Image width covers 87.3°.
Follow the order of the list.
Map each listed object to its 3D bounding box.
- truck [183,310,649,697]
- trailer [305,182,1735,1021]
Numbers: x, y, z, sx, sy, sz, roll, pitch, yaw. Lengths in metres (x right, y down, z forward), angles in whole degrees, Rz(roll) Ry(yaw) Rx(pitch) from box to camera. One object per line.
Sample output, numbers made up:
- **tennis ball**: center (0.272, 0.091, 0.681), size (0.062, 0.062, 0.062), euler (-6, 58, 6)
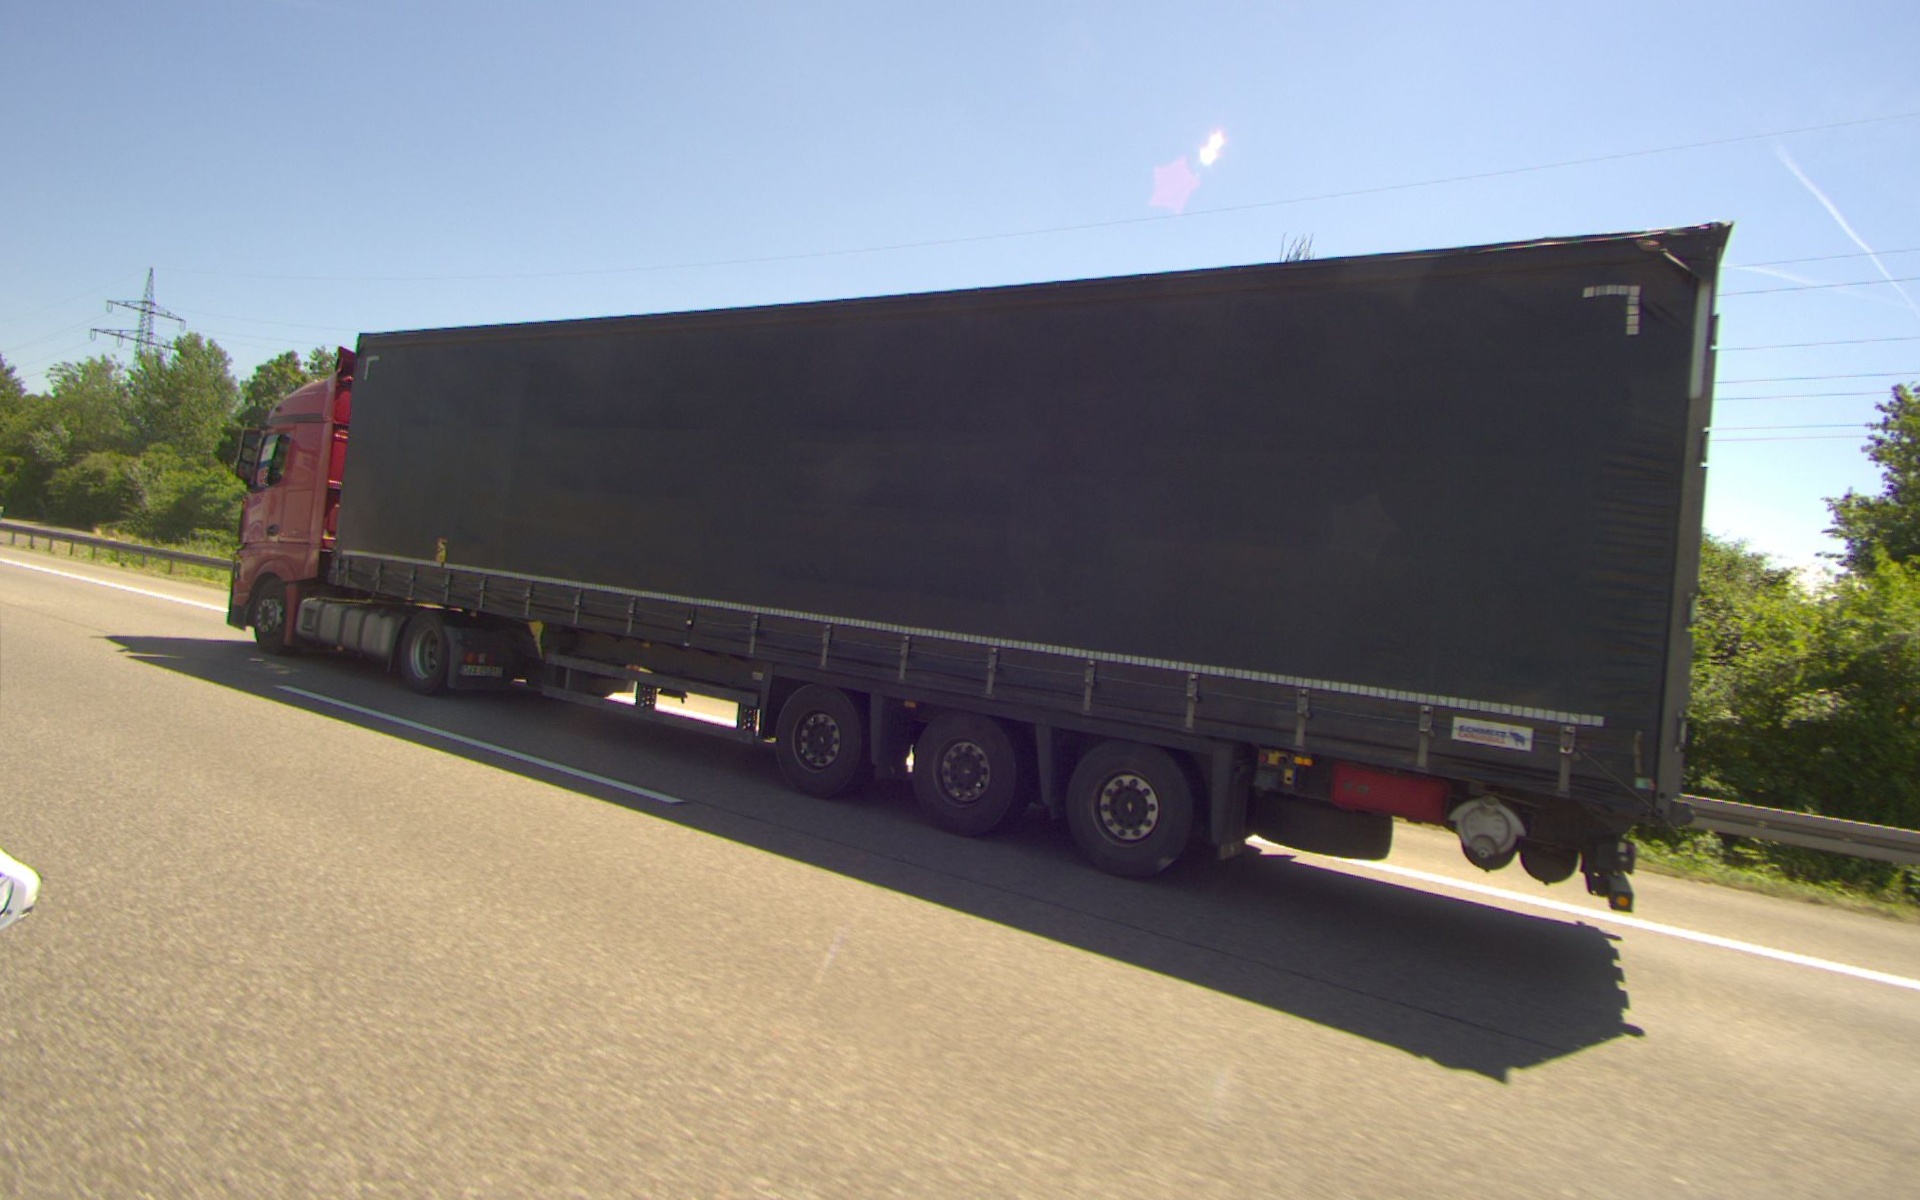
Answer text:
- **truck**: center (-7.458, -1.201, 13.656), size (5.628, 4.213, 2.799), euler (7, -1, 32)
- **trailer**: center (-1.288, -0.501, 9.753), size (13.350, 4.213, 2.793), euler (6, -1, 32)
